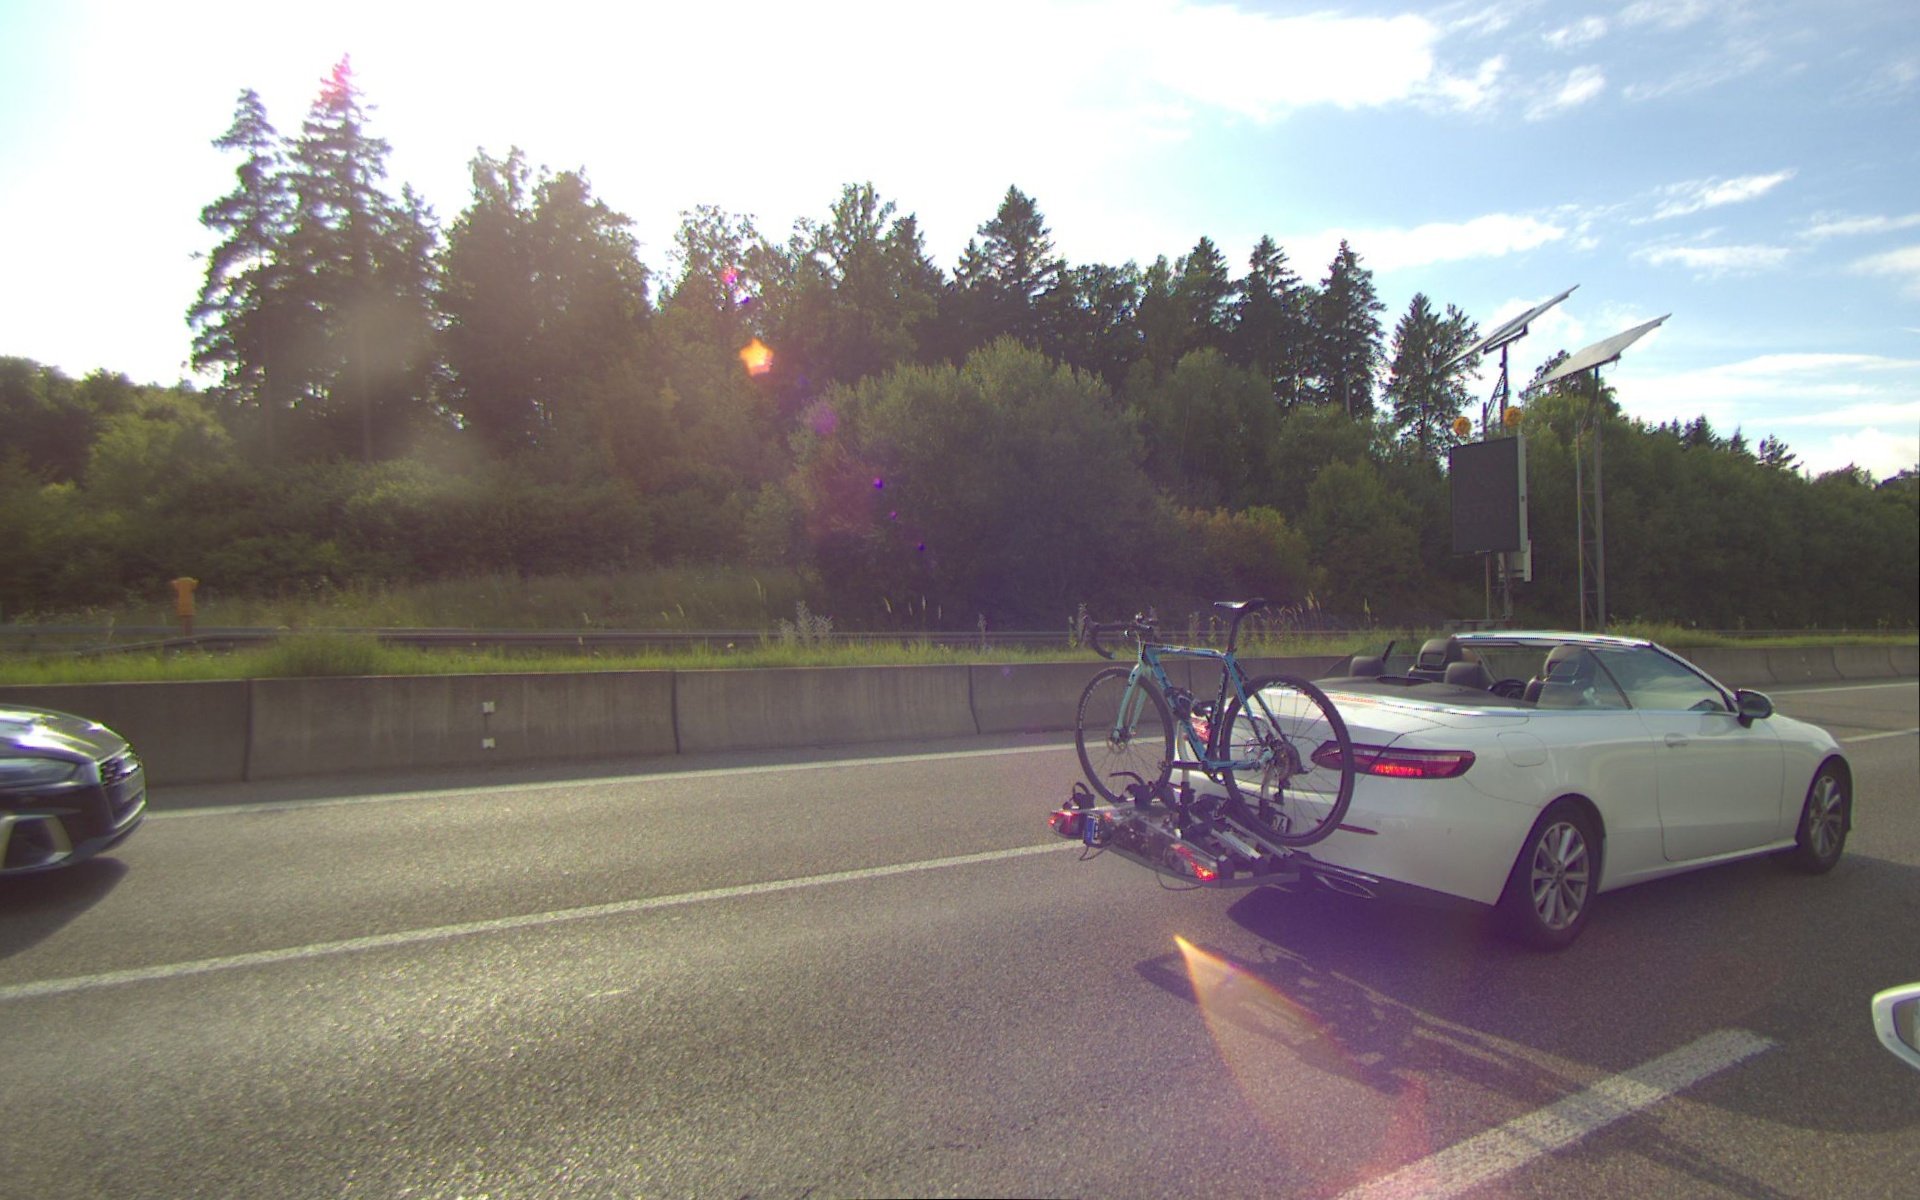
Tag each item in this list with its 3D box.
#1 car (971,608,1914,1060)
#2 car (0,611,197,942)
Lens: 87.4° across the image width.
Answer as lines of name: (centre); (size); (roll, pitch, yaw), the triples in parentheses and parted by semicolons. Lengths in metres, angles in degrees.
car: (3.010, 0.843, 5.735); (5.668, 1.519, 2.050); (1, 0, -30)
car: (-6.399, 0.765, 4.274); (4.784, 1.450, 1.847); (1, 0, -30)
